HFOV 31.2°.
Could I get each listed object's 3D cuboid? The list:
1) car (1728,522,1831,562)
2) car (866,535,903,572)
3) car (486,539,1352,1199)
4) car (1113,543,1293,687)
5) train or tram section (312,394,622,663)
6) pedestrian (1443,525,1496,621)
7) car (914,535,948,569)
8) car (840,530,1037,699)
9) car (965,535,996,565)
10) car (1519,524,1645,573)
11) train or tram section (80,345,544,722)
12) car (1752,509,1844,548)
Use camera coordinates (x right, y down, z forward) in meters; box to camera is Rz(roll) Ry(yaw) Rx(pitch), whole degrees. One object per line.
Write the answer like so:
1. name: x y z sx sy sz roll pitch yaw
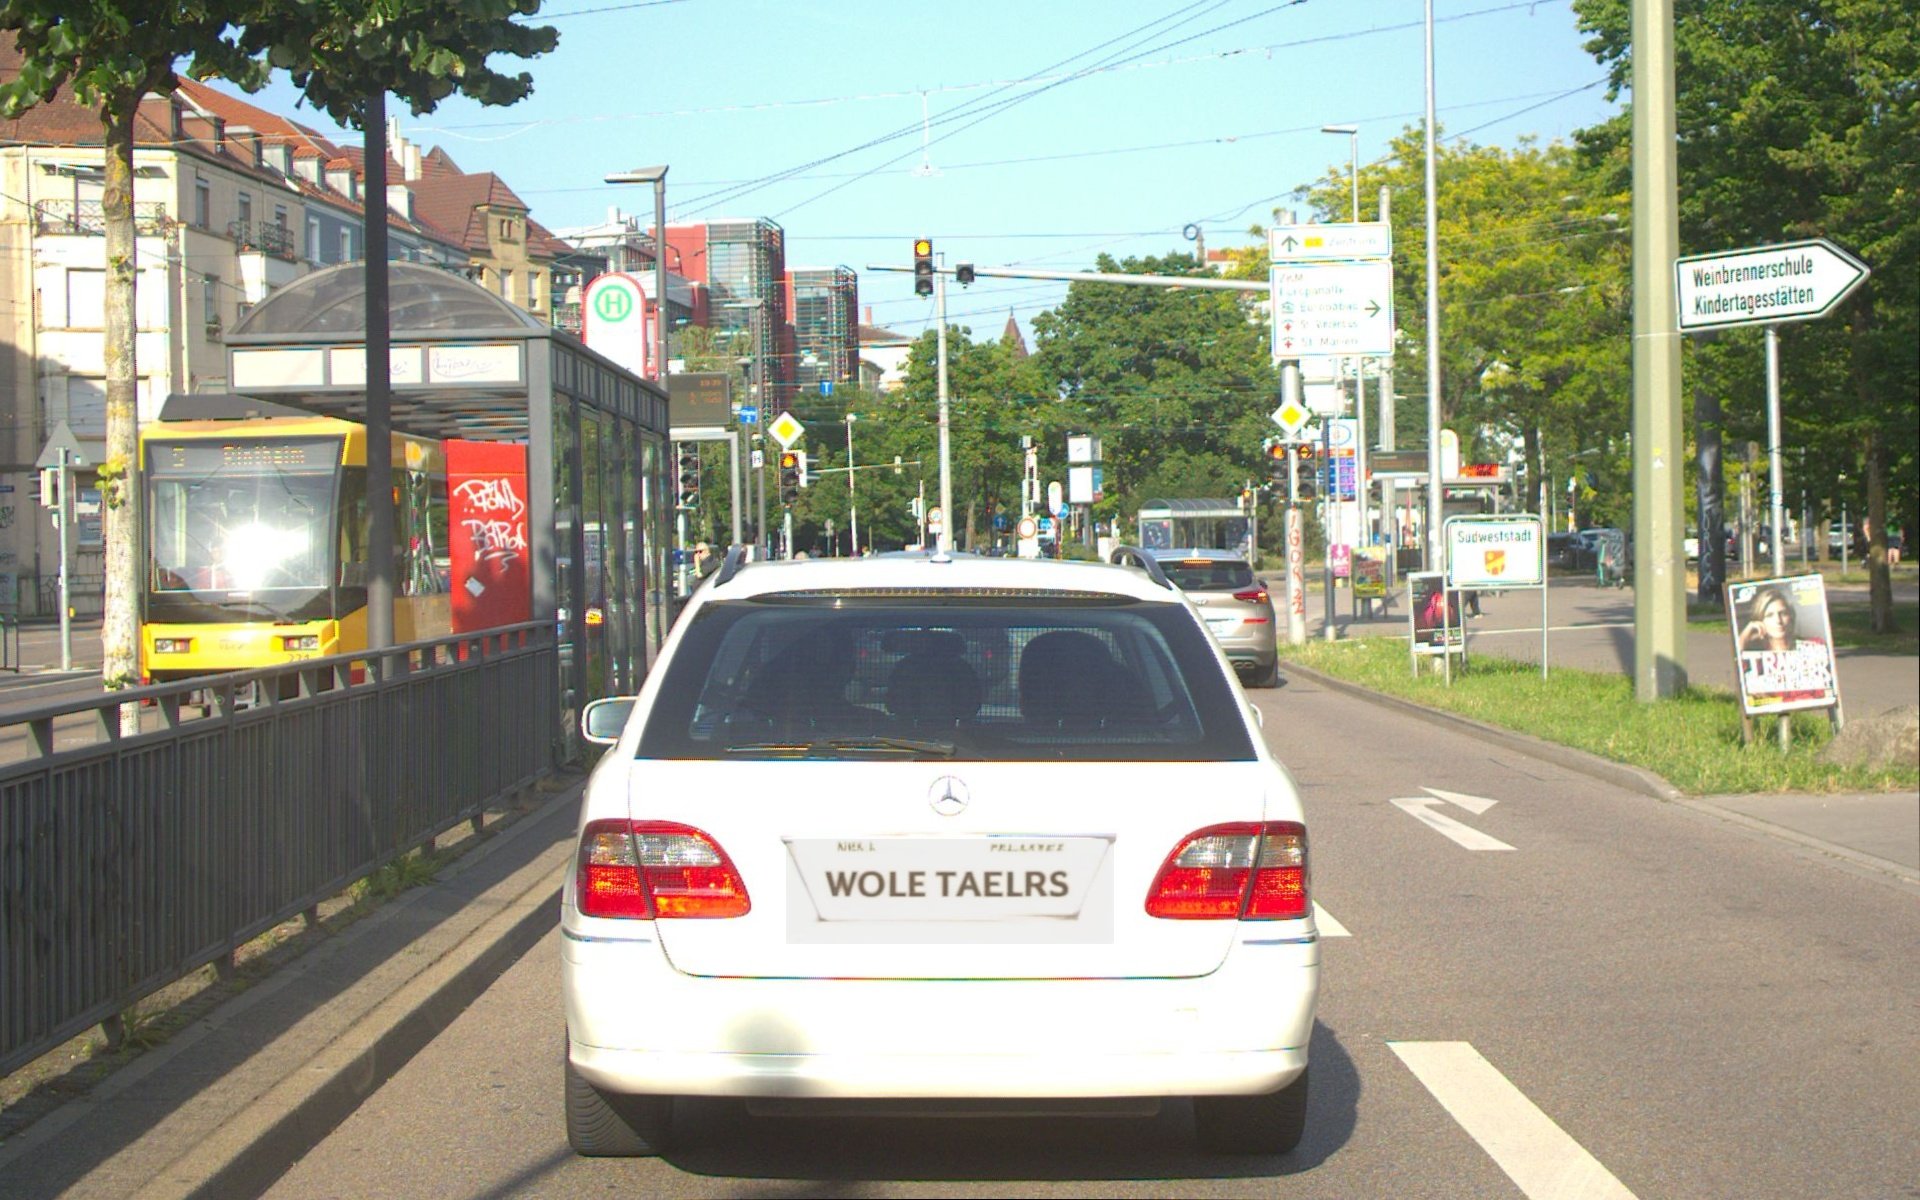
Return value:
1. car: 35.670 -2.526 149.605 3.986 1.645 2.000 -2 1 -26
2. car: -4.274 -2.641 195.722 1.993 2.007 4.000 -1 1 -1
3. car: -0.146 0.617 9.133 1.758 1.498 4.001 -2 1 -2
4. car: 2.889 0.144 40.978 2.033 1.600 4.000 0 1 4
5. train or tram section: -7.051 -1.072 51.238 2.849 3.467 13.201 0 1 -1
6. pedestrian: 8.732 -0.466 58.982 0.887 1.646 0.745 0 1 8
7. car: -1.790 -2.969 212.273 1.993 2.007 4.000 -1 1 -1
8. car: -0.178 0.108 36.768 1.787 1.684 4.000 0 1 4
9. car: 1.416 -3.499 239.995 1.993 2.007 4.000 -1 1 -1
10. car: 22.094 -1.831 122.183 3.992 1.645 1.997 -1 1 26
11. train or tram section: -6.766 -0.775 38.258 2.849 3.467 13.201 0 1 -1
12. car: 37.846 -3.236 155.216 3.989 1.645 1.999 -1 1 14
